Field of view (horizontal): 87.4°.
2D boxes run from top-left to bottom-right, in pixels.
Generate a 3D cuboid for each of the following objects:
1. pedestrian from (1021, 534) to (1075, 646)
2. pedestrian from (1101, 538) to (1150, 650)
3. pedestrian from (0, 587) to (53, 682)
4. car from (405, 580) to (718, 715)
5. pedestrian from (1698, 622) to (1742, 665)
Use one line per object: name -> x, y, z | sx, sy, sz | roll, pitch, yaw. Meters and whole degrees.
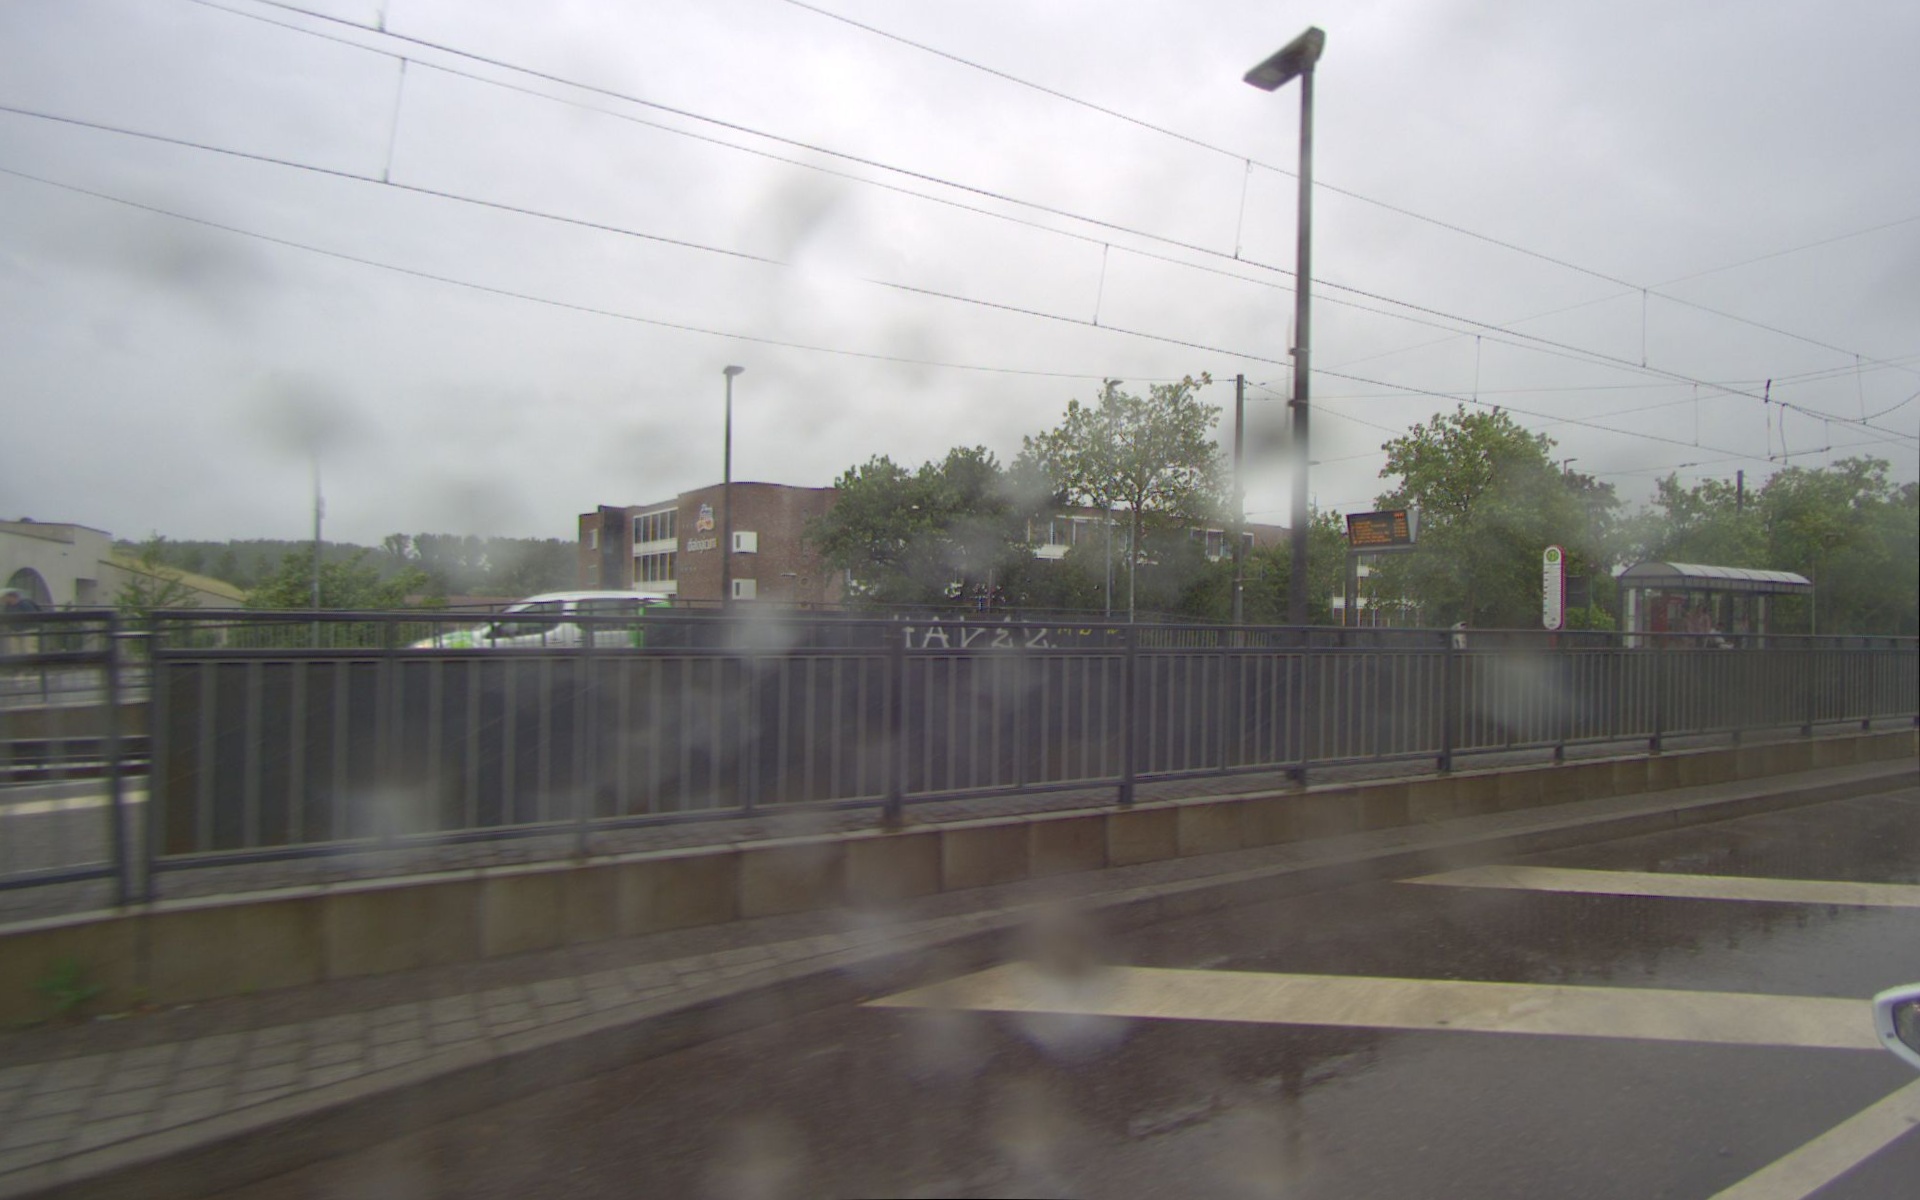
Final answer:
pedestrian -> 3.276, -0.351, 37.377 | 1.508, 4.082, 1.158 | 2, 0, -41
pedestrian -> 6.210, -0.216, 37.791 | 1.490, 4.082, 1.172 | 2, 0, -2
pedestrian -> -20.597, 0.757, 22.147 | 0.688, 2.040, 0.696 | 1, 0, -29
car -> -6.758, 0.763, 17.160 | 4.698, 2.040, 1.984 | 2, 0, -30
pedestrian -> 24.532, 1.399, 32.423 | 0.848, 1.334, 0.827 | 1, 1, -30
